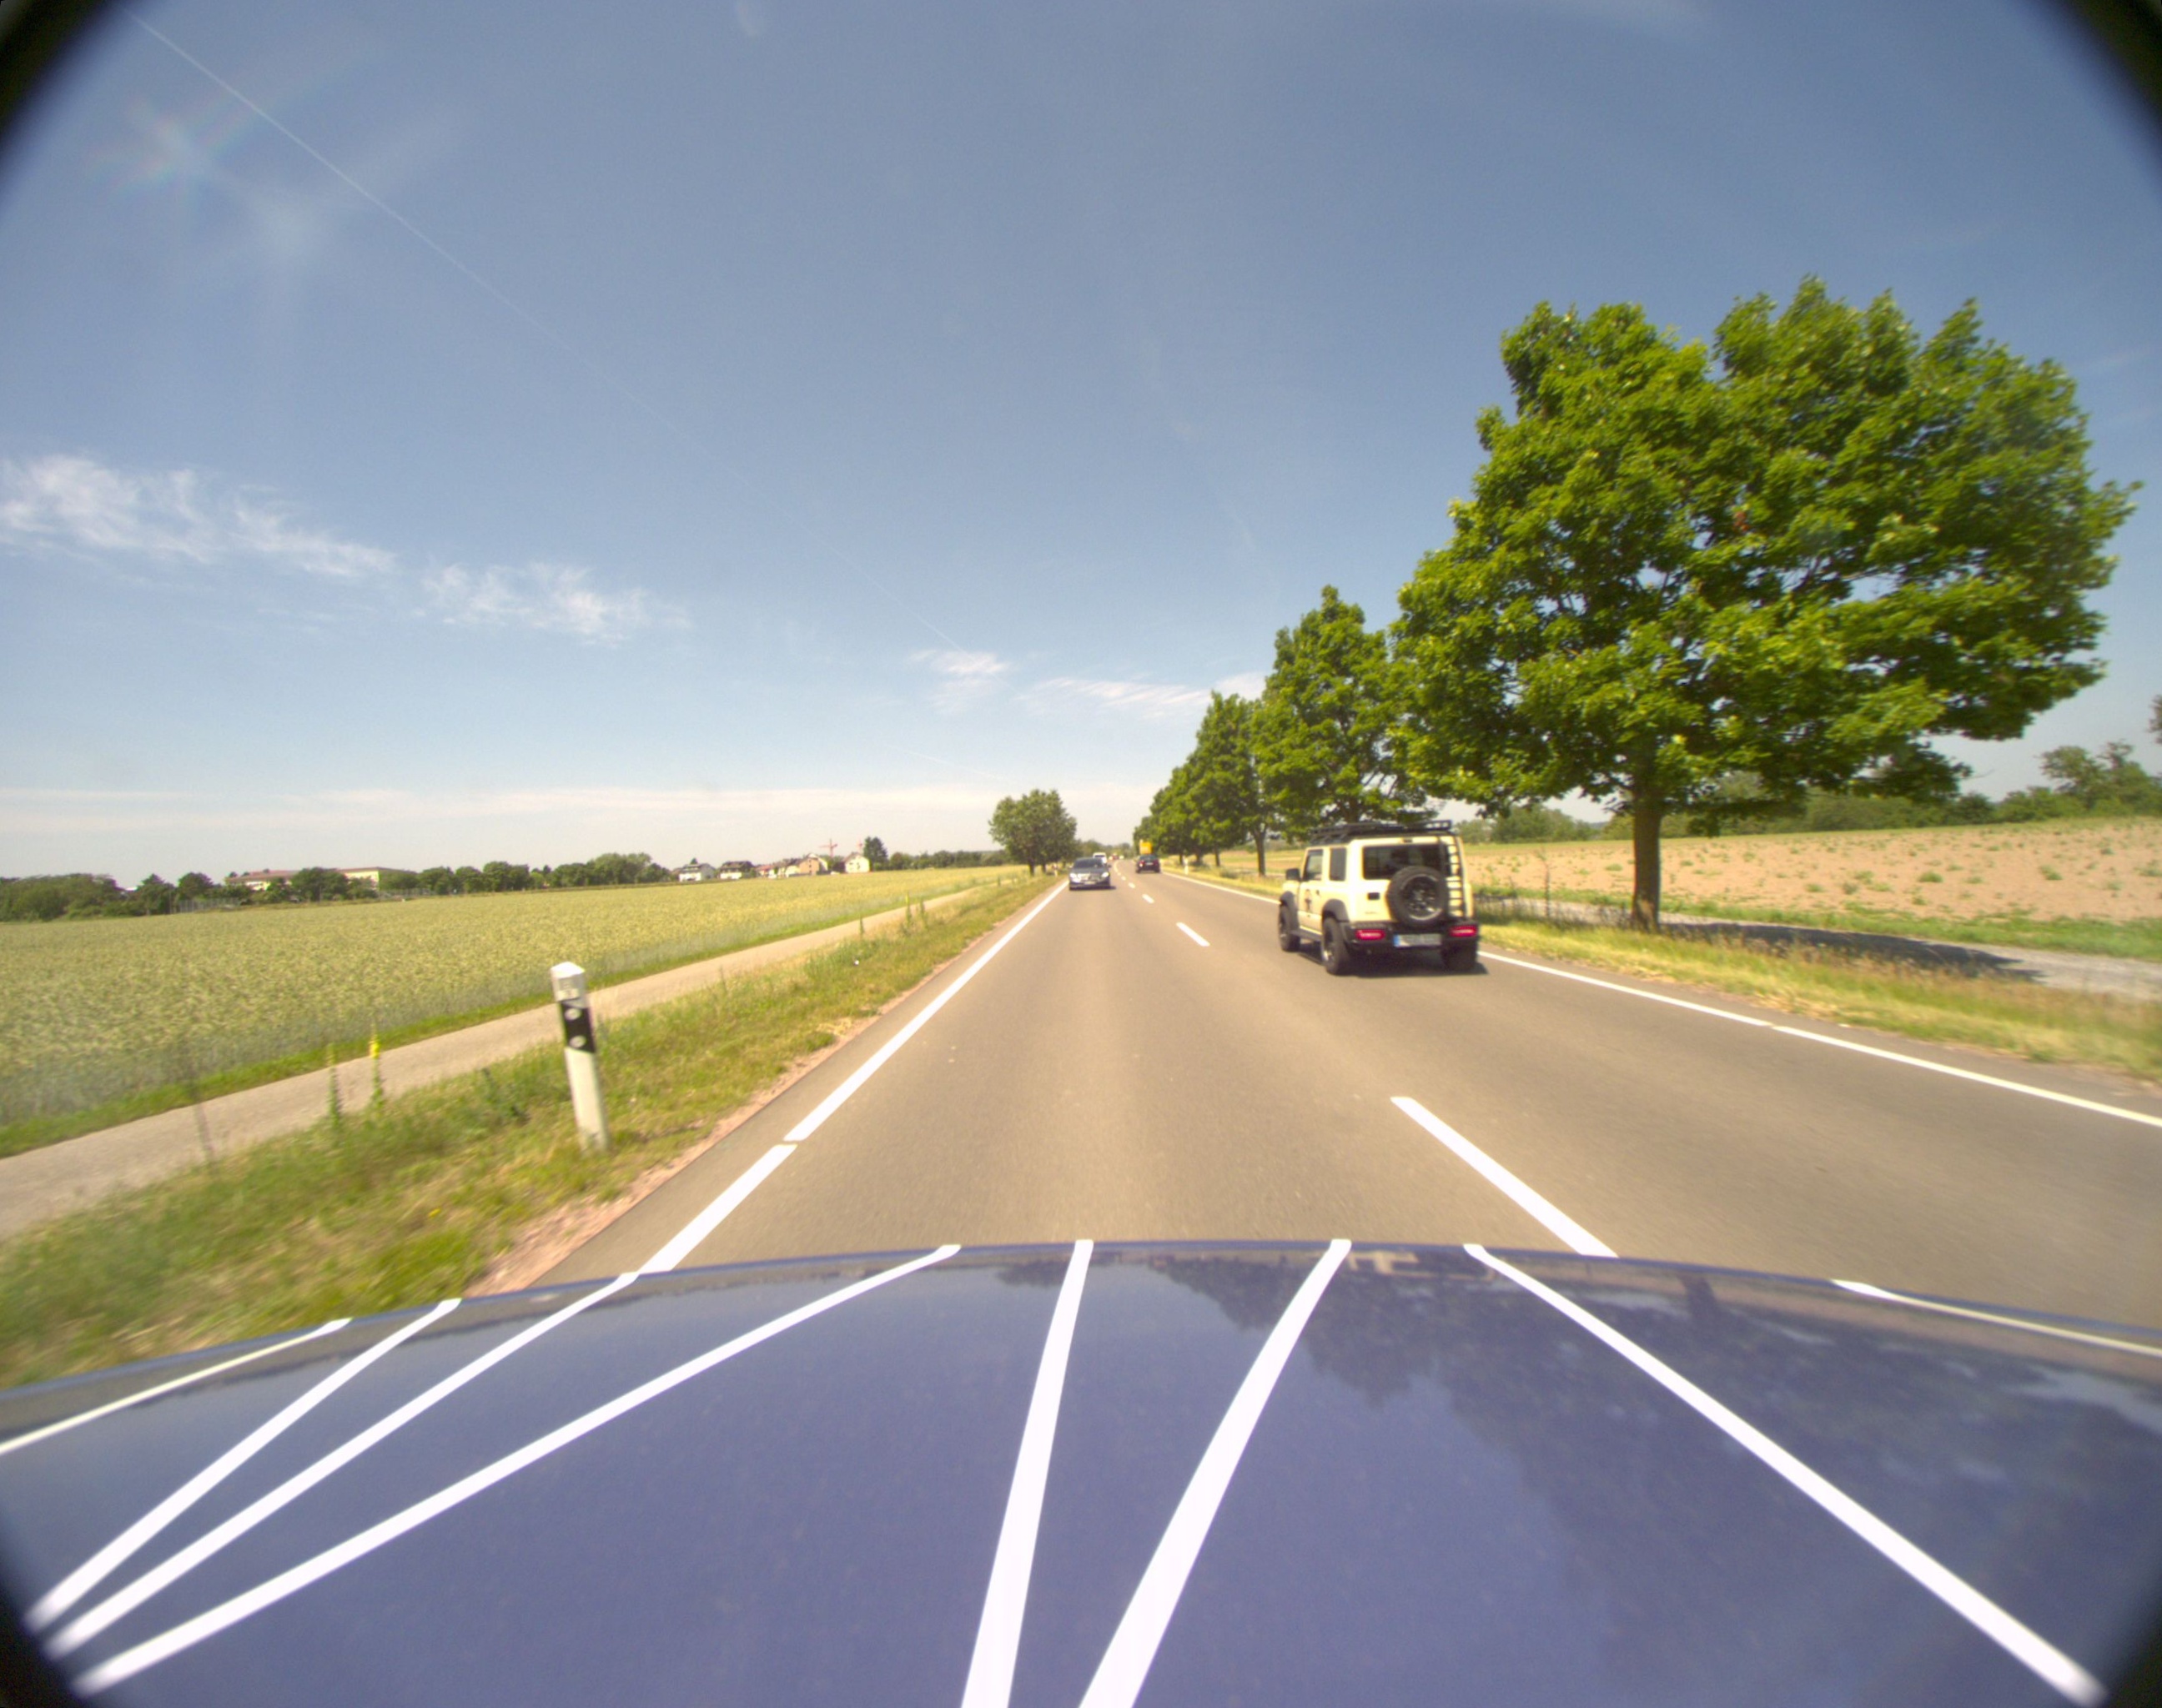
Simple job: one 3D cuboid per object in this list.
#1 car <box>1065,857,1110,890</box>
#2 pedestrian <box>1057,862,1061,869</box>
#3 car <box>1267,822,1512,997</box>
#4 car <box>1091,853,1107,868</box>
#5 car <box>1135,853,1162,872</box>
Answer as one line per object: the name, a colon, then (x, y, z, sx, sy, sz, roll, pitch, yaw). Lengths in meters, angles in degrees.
car: (0.313, 0.875, 35.564, 1.953, 1.390, 4.000, -1, 0, 1)
pedestrian: (-3.803, 2.000, 133.560, 0.486, 1.288, 0.443, -2, 1, 36)
car: (3.830, 0.583, 10.218, 1.685, 1.838, 4.000, -2, 1, 1)
car: (2.475, 0.831, 102.457, 1.998, 1.907, 4.207, -3, 0, 2)
car: (5.482, 0.659, 62.114, 1.826, 1.412, 4.589, -2, 1, 1)
